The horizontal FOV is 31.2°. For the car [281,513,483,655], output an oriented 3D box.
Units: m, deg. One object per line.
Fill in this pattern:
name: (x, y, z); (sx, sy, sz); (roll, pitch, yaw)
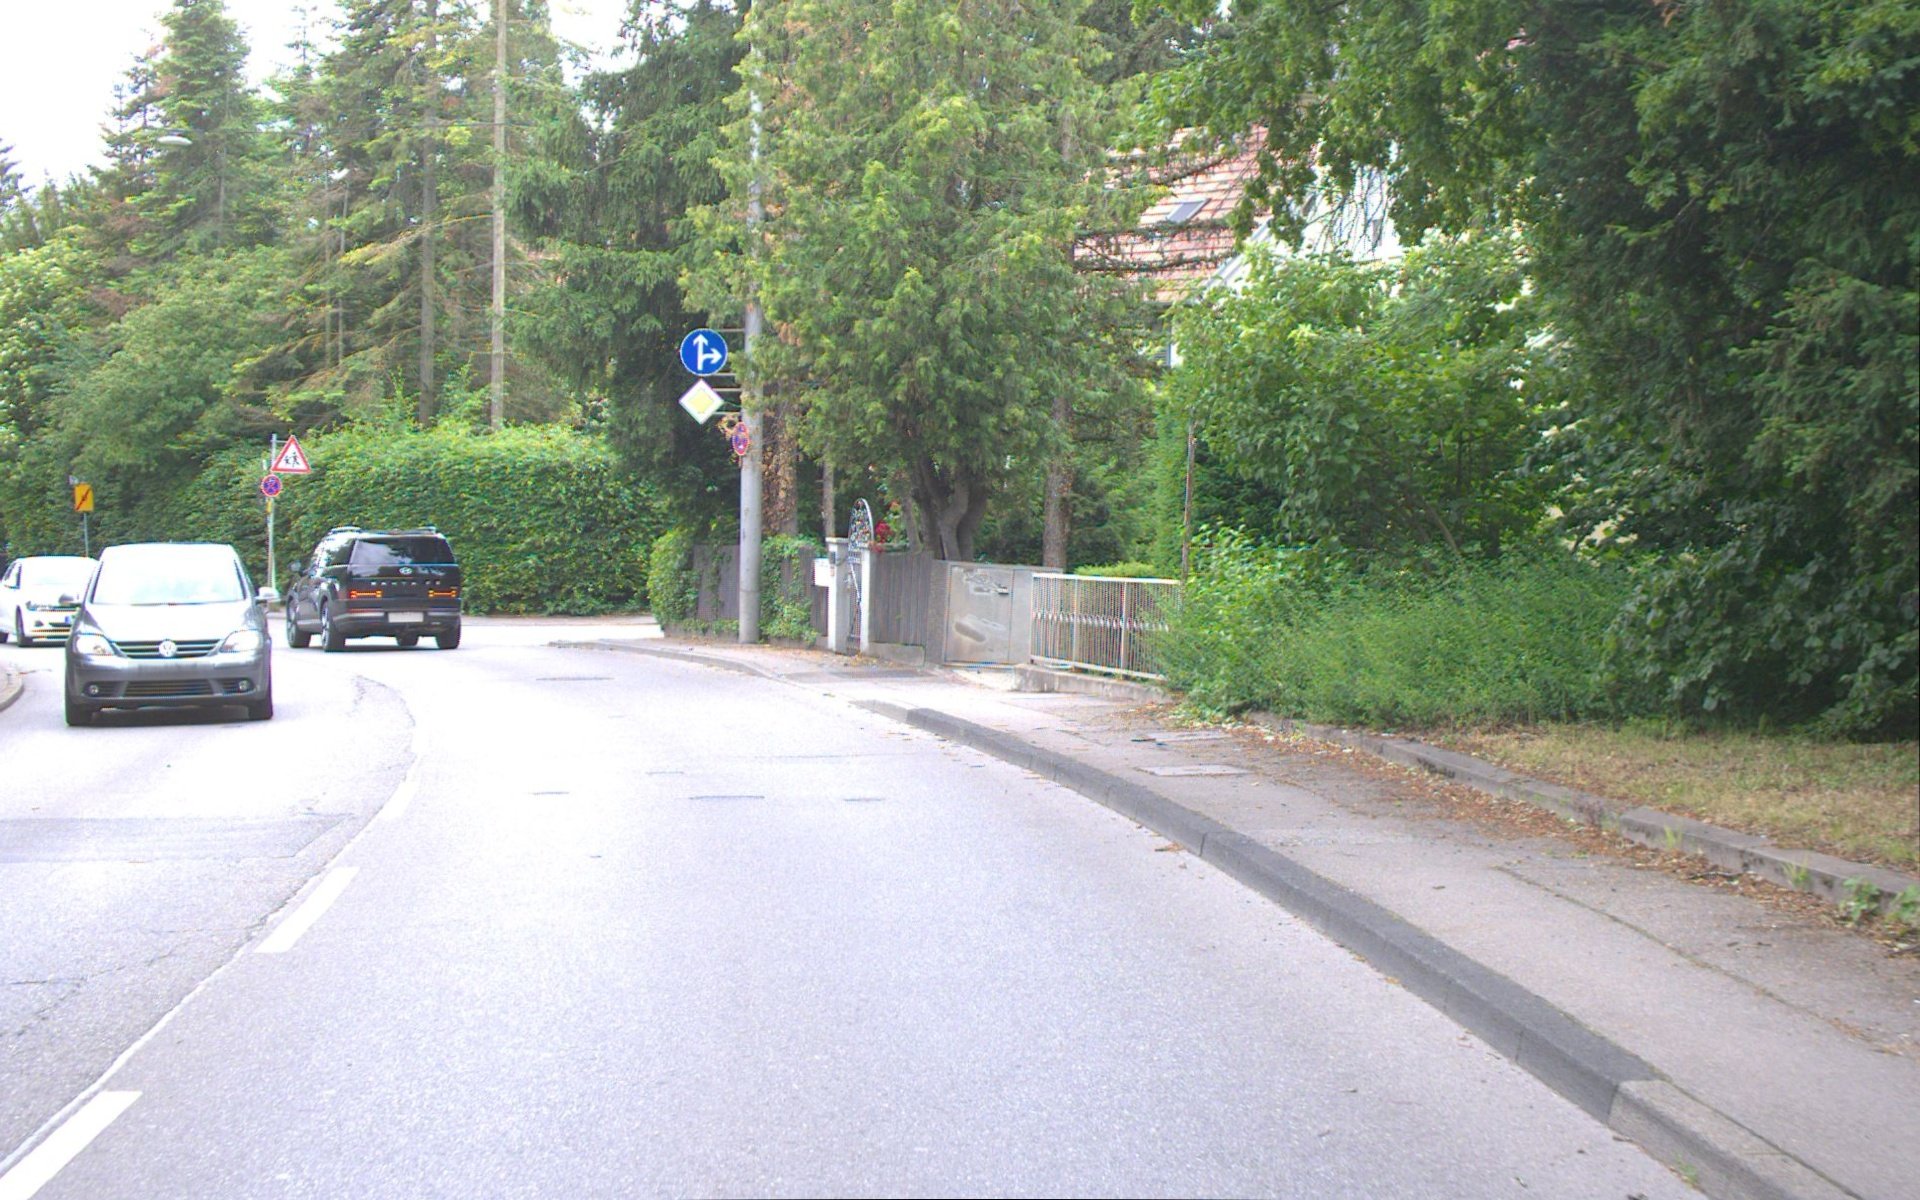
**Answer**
car: (-8.404, -0.259, 49.698); (1.993, 1.875, 4.001); (0, 2, -23)

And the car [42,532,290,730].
car: (-7.044, 0.214, 30.814); (1.993, 1.612, 4.001); (-1, 1, -11)

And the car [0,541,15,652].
car: (-13.886, -0.039, 46.588); (1.902, 1.449, 3.798); (-3, 2, -14)
